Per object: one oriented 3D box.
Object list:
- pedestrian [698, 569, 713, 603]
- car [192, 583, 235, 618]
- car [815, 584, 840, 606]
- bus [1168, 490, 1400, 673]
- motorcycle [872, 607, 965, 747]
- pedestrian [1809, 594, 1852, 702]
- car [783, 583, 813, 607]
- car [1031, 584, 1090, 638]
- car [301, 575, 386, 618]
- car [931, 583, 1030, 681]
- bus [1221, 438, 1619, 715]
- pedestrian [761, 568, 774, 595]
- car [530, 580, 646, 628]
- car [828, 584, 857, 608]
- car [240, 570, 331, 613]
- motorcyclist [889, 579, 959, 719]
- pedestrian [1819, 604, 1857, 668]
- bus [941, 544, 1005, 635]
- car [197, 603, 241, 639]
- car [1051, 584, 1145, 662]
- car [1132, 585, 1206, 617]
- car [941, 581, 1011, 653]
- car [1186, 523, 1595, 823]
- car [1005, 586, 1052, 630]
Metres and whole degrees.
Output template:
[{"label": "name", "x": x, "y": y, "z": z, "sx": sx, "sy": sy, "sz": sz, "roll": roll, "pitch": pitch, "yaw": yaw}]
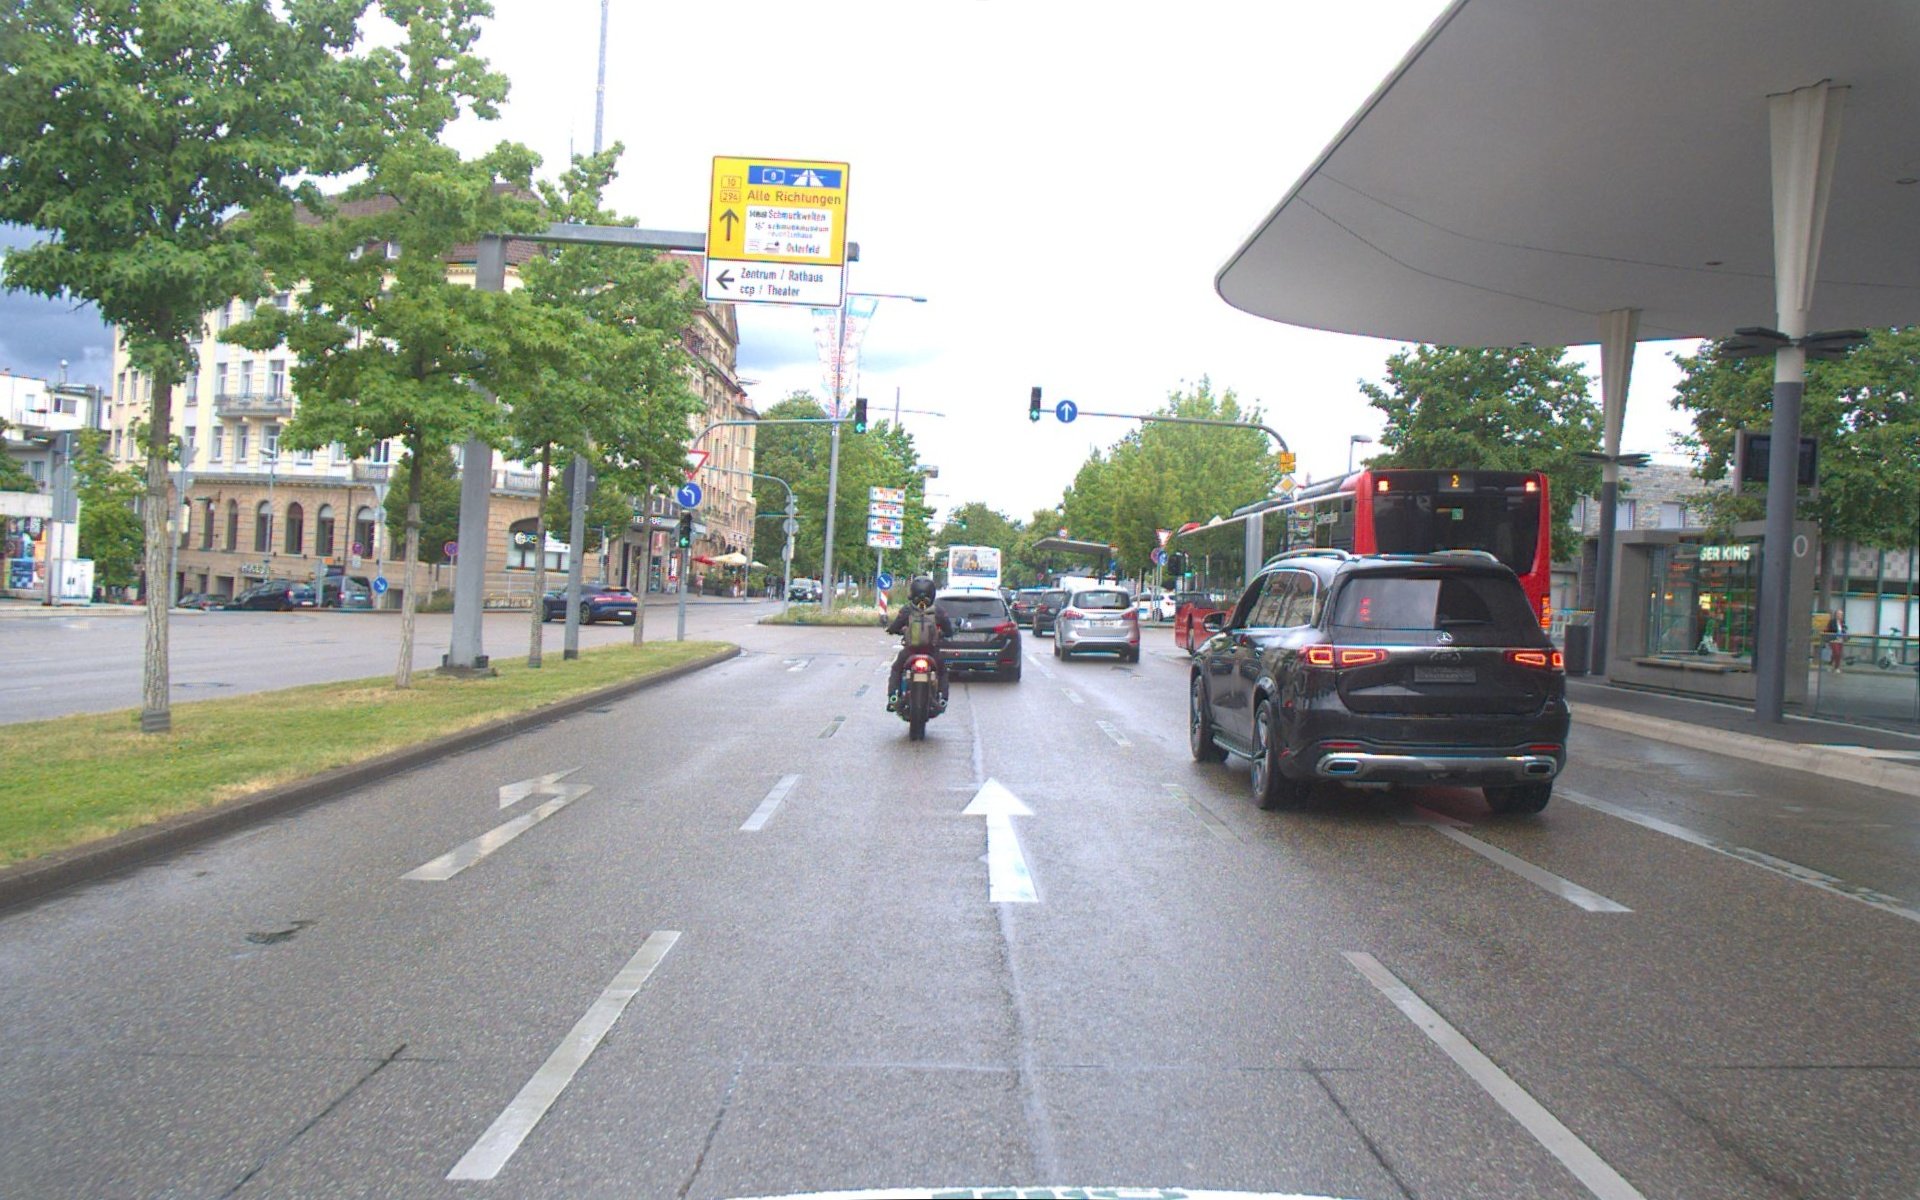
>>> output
[{"label": "pedestrian", "x": -15.741, "y": -0.866, "z": 102.317, "sx": 0.715, "sy": 2.049, "sz": 0.819, "roll": 1, "pitch": 0, "yaw": -27}, {"label": "car", "x": -36.422, "y": 0.004, "z": 80.711, "sx": 1.640, "sy": 1.632, "sz": 3.221, "roll": -1, "pitch": 2, "yaw": -29}, {"label": "car", "x": -9.389, "y": -0.367, "z": 117.603, "sx": 1.543, "sy": 1.594, "sz": 3.429, "roll": 0, "pitch": 0, "yaw": 0}, {"label": "bus", "x": 6.619, "y": -0.370, "z": 35.348, "sx": 3.223, "sy": 3.346, "sz": 8.849, "roll": 1, "pitch": 0, "yaw": 0}, {"label": "motorcycle", "x": -0.386, "y": 0.724, "z": 16.471, "sx": 0.776, "sy": 1.284, "sz": 1.856, "roll": 1, "pitch": 0, "yaw": 3}, {"label": "pedestrian", "x": 14.054, "y": 0.773, "z": 26.726, "sx": 0.563, "sy": 1.707, "sz": 0.582, "roll": 1, "pitch": -1, "yaw": 26}, {"label": "car", "x": -10.874, "y": -0.352, "z": 111.243, "sx": 1.743, "sy": 1.594, "sz": 3.429, "roll": 0, "pitch": 0, "yaw": 0}, {"label": "car", "x": 3.009, "y": 0.301, "z": 50.154, "sx": 1.543, "sy": 1.594, "sz": 3.871, "roll": 0, "pitch": 0, "yaw": 0}, {"label": "car", "x": -27.715, "y": -0.169, "z": 74.327, "sx": 2.102, "sy": 1.807, "sz": 4.324, "roll": 1, "pitch": 0, "yaw": -42}, {"label": "car", "x": 0.336, "y": 0.483, "z": 27.752, "sx": 1.543, "sy": 1.531, "sz": 3.871, "roll": 0, "pitch": 0, "yaw": 0}, {"label": "bus", "x": 6.558, "y": -0.324, "z": 25.946, "sx": 3.219, "sy": 3.349, "sz": 10.878, "roll": 1, "pitch": 0, "yaw": 0}, {"label": "pedestrian", "x": -14.080, "y": -1.361, "z": 120.927, "sx": 0.715, "sy": 2.000, "sz": 0.819, "roll": 1, "pitch": 0, "yaw": -27}, {"label": "car", "x": -12.897, "y": 0.130, "z": 57.255, "sx": 4.327, "sy": 1.598, "sz": 1.810, "roll": 0, "pitch": 1, "yaw": 43}, {"label": "car", "x": -7.766, "y": -0.288, "z": 109.506, "sx": 1.743, "sy": 1.594, "sz": 3.429, "roll": 0, "pitch": 0, "yaw": 0}, {"label": "car", "x": -28.524, "y": -0.356, "z": 69.931, "sx": 3.629, "sy": 1.656, "sz": 1.836, "roll": 2, "pitch": 0, "yaw": 34}, {"label": "motorcyclist", "x": -0.356, "y": 0.483, "z": 16.671, "sx": 0.628, "sy": 1.371, "sz": 0.689, "roll": 1, "pitch": 0, "yaw": 3}, {"label": "pedestrian", "x": 23.077, "y": 0.946, "z": 43.474, "sx": 0.592, "sy": 1.605, "sz": 0.673, "roll": 5, "pitch": -4, "yaw": 6}, {"label": "bus", "x": 0.544, "y": -0.464, "z": 81.794, "sx": 2.780, "sy": 4.057, "sz": 11.861, "roll": 2, "pitch": 0, "yaw": -1}, {"label": "car", "x": -36.265, "y": 1.002, "z": 80.924, "sx": 1.641, "sy": 1.632, "sz": 3.219, "roll": -1, "pitch": 2, "yaw": -30}, {"label": "car", "x": 2.939, "y": 0.453, "z": 35.906, "sx": 1.705, "sy": 1.594, "sz": 3.871, "roll": 0, "pitch": 0, "yaw": 0}, {"label": "car", "x": 10.617, "y": 0.042, "z": 84.155, "sx": 1.565, "sy": 1.594, "sz": 3.742, "roll": 0, "pitch": 1, "yaw": -39}, {"label": "car", "x": 0.342, "y": 0.359, "z": 38.324, "sx": 1.543, "sy": 1.594, "sz": 3.871, "roll": 0, "pitch": 0, "yaw": 0}, {"label": "car", "x": 3.074, "y": 0.444, "z": 12.973, "sx": 1.917, "sy": 1.908, "sz": 4.873, "roll": 0, "pitch": 0, "yaw": 0}, {"label": "car", "x": 2.497, "y": 0.265, "z": 61.117, "sx": 1.543, "sy": 1.594, "sz": 3.795, "roll": 0, "pitch": 0, "yaw": 0}]
